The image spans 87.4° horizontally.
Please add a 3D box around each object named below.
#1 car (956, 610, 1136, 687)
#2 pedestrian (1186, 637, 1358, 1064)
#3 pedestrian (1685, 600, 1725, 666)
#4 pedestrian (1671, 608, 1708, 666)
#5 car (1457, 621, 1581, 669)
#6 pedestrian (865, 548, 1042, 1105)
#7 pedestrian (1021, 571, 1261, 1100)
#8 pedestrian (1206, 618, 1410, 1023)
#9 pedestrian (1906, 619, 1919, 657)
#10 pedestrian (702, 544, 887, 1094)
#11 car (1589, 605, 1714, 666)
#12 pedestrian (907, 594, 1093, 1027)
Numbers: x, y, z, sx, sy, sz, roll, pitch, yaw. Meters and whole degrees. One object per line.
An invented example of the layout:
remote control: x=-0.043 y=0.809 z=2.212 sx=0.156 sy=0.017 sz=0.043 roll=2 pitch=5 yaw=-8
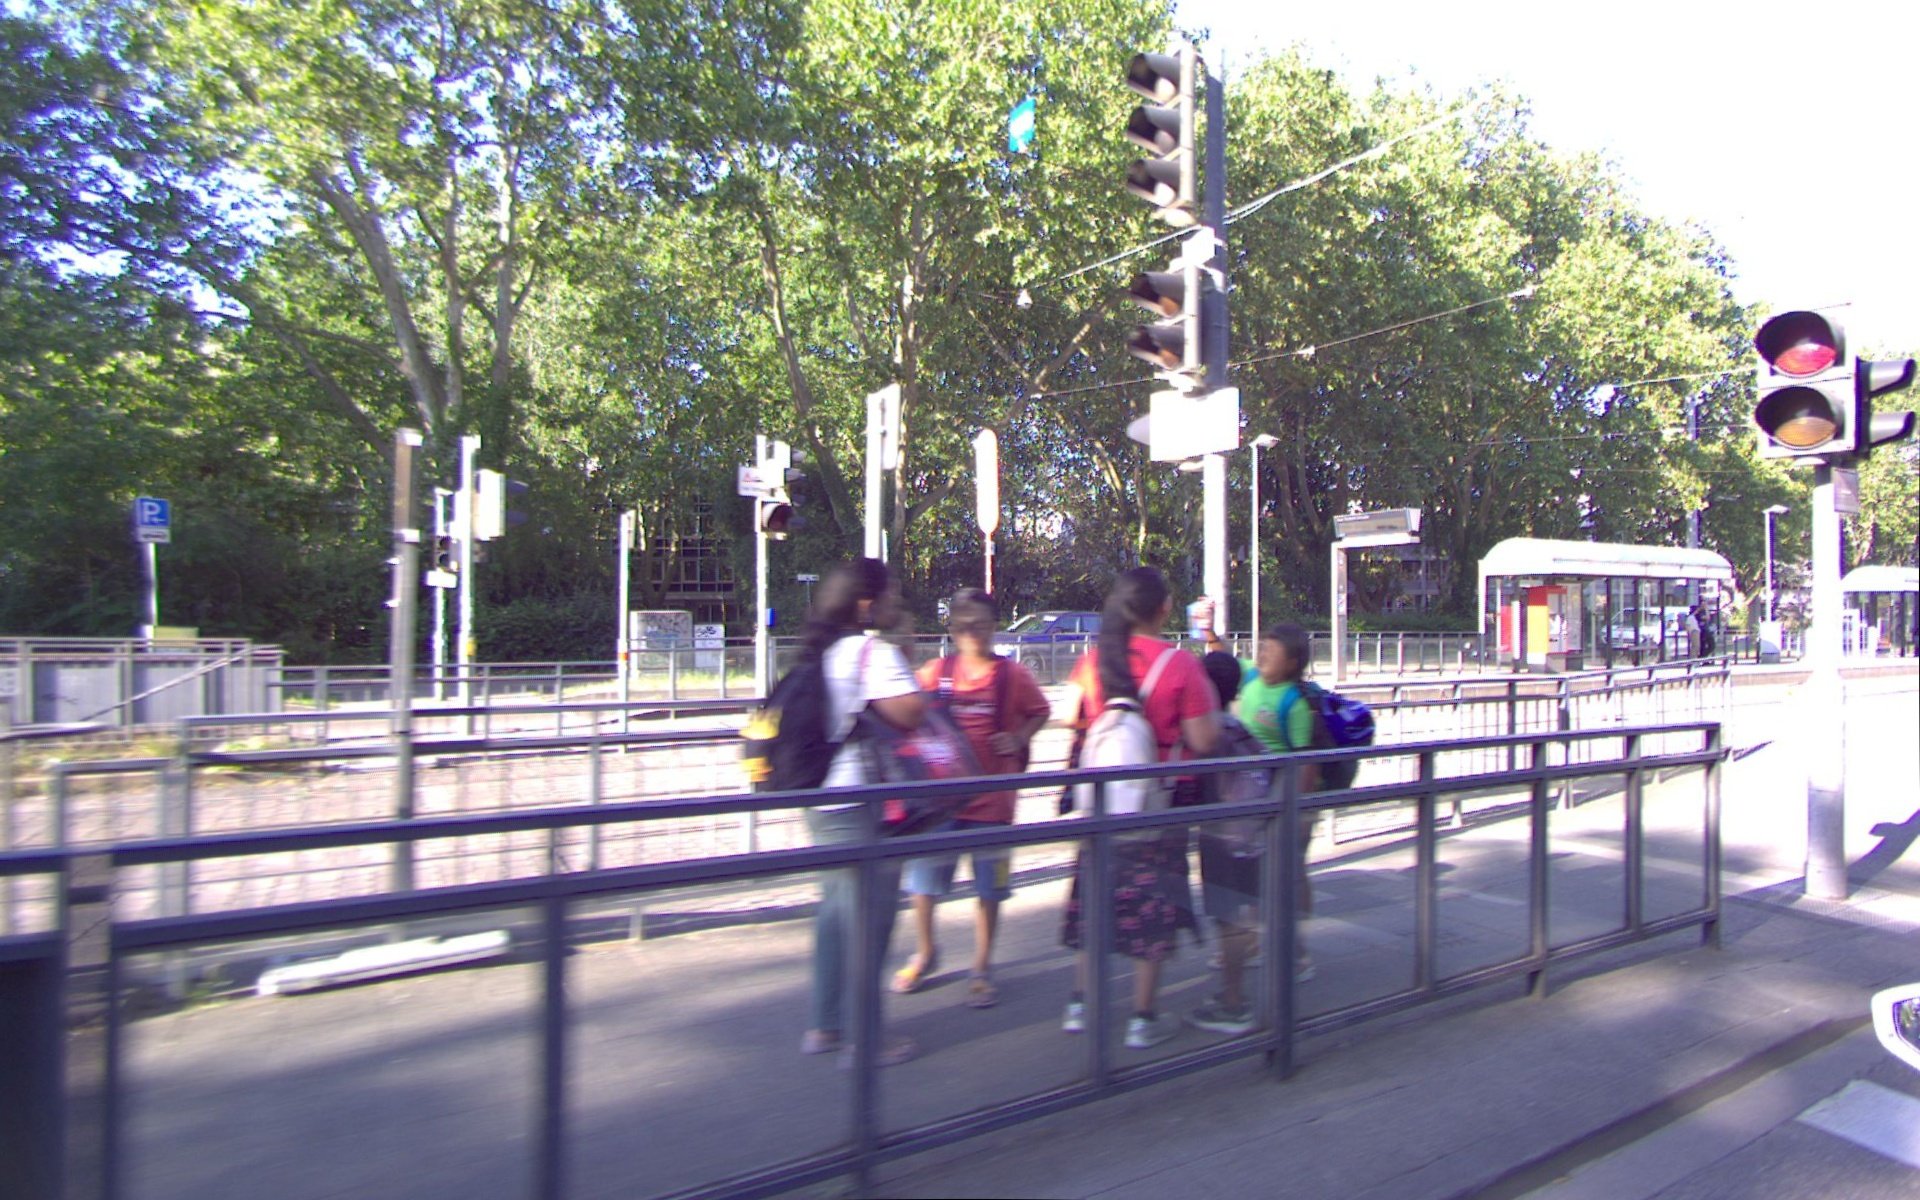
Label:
car: x=2.053 y=1.128 z=23.683 sx=3.931 sy=1.673 sz=1.892 roll=2 pitch=-3 yaw=-34
pedestrian: x=1.063 y=0.802 z=3.451 sx=0.355 sy=1.338 sz=0.414 roll=1 pitch=-3 yaw=-30
pedestrian: x=20.769 y=0.911 z=28.007 sx=0.642 sy=1.795 sz=0.645 roll=1 pitch=0 yaw=-28
pedestrian: x=20.110 y=1.007 z=27.697 sx=0.619 sy=1.564 sz=0.590 roll=1 pitch=0 yaw=-30
car: x=18.673 y=1.499 z=33.508 sx=4.294 sy=1.530 sz=1.785 roll=2 pitch=-3 yaw=-32
pedestrian: x=-0.021 y=0.656 z=3.155 sx=0.498 sy=1.588 sz=0.521 roll=0 pitch=-2 yaw=0
pedestrian: x=0.581 y=0.700 z=3.330 sx=0.508 sy=1.539 sz=0.587 roll=1 pitch=-3 yaw=-30
pedestrian: x=1.378 y=0.799 z=3.973 sx=0.582 sy=1.425 sz=0.557 roll=-3 pitch=-3 yaw=39
pedestrian: x=34.317 y=1.342 z=35.792 sx=0.749 sy=1.342 sz=0.666 roll=1 pitch=-3 yaw=-32
pedestrian: x=-0.503 y=0.643 z=3.192 sx=0.498 sy=1.588 sz=0.521 roll=0 pitch=-2 yaw=0
car: x=26.151 y=1.359 z=37.938 sx=5.034 sy=2.152 sz=2.056 roll=2 pitch=-3 yaw=-32
pedestrian: x=0.140 y=0.742 z=3.845 sx=0.508 sy=1.491 sz=0.517 roll=1 pitch=-3 yaw=-29
